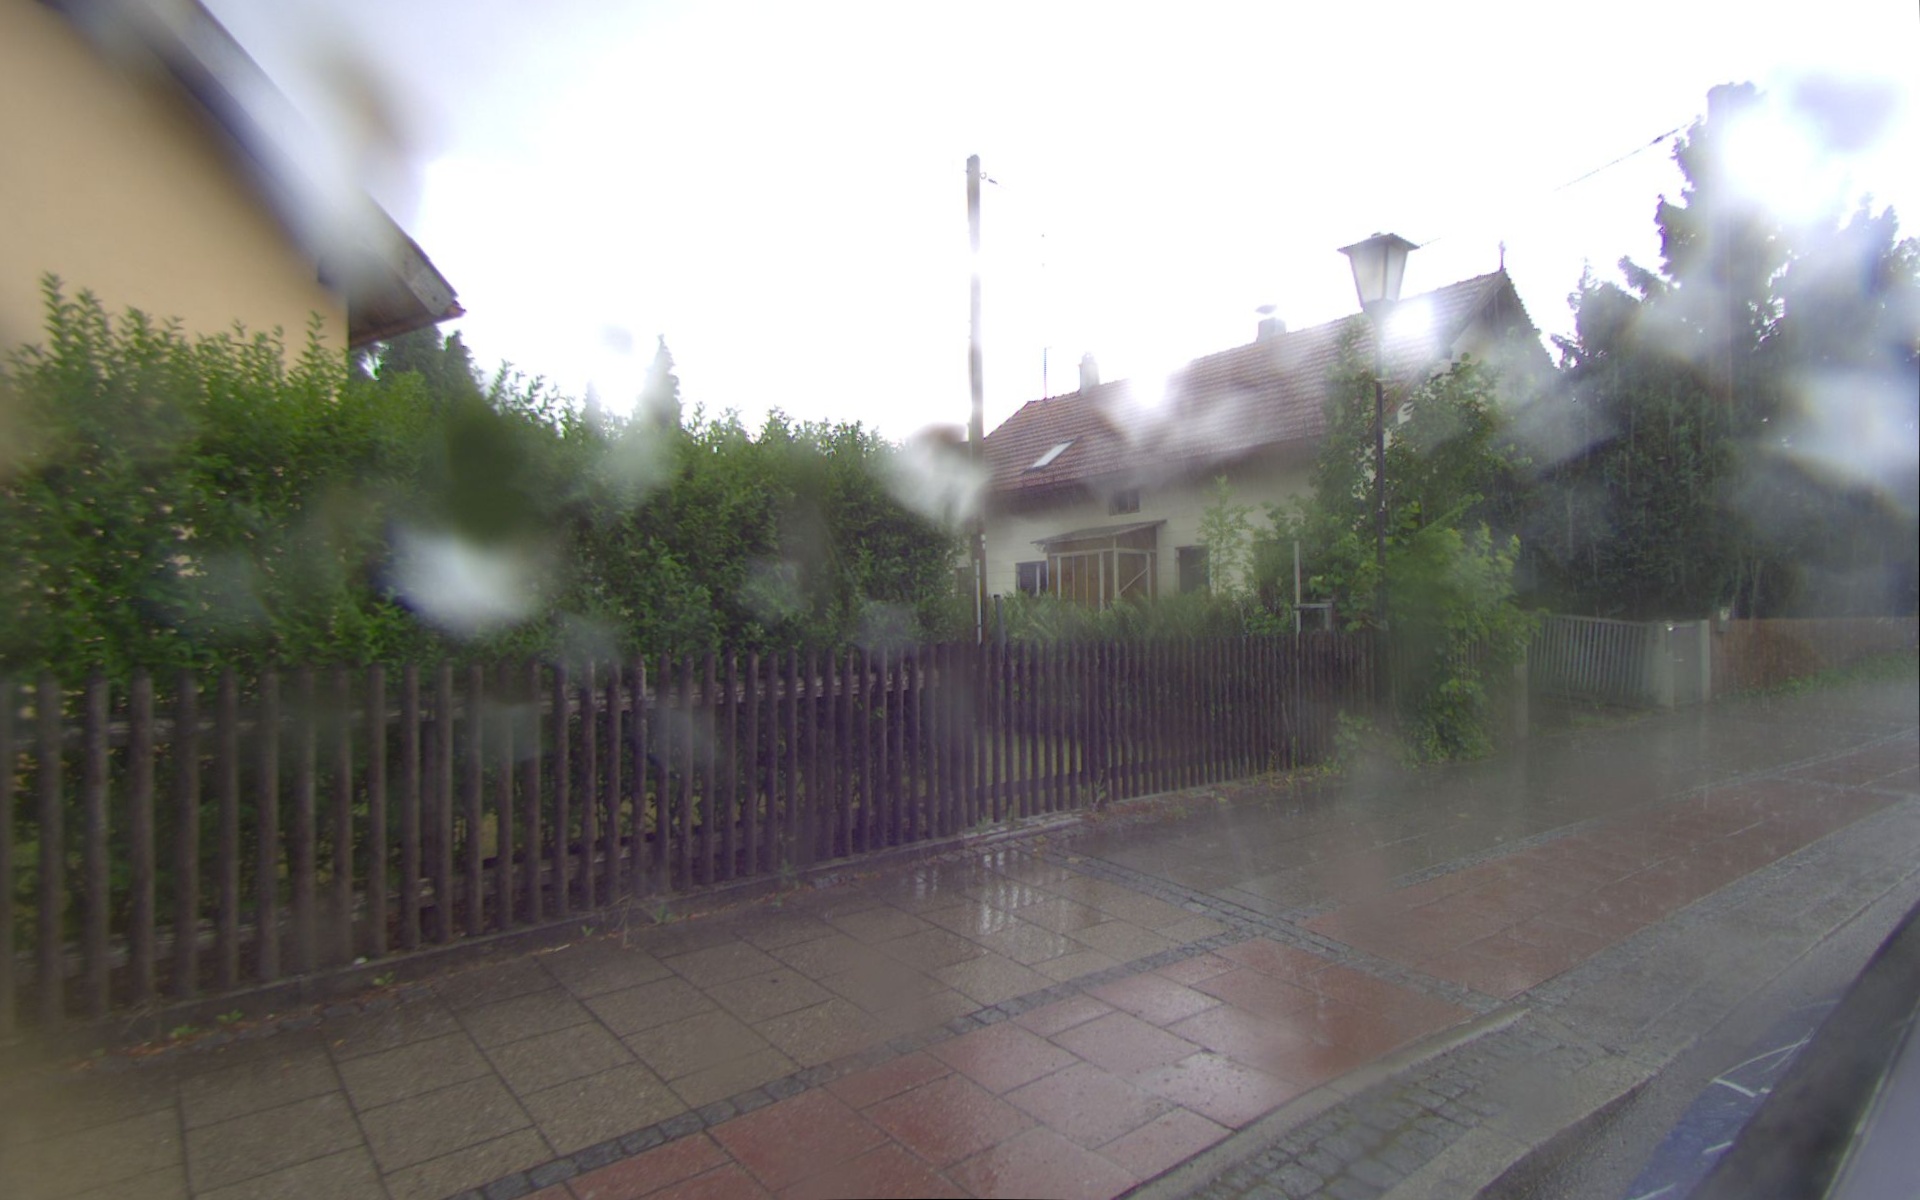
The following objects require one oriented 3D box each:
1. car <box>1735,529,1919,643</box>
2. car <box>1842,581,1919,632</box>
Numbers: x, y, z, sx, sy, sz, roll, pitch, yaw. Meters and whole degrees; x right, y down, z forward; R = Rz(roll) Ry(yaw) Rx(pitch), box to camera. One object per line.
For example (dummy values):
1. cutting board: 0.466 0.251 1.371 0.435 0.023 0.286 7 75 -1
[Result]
1. car: 23.346 -0.378 25.902 1.967 2.761 5.310 -1 2 -43
2. car: 28.810 0.212 29.524 1.799 1.438 4.437 -1 3 -41
